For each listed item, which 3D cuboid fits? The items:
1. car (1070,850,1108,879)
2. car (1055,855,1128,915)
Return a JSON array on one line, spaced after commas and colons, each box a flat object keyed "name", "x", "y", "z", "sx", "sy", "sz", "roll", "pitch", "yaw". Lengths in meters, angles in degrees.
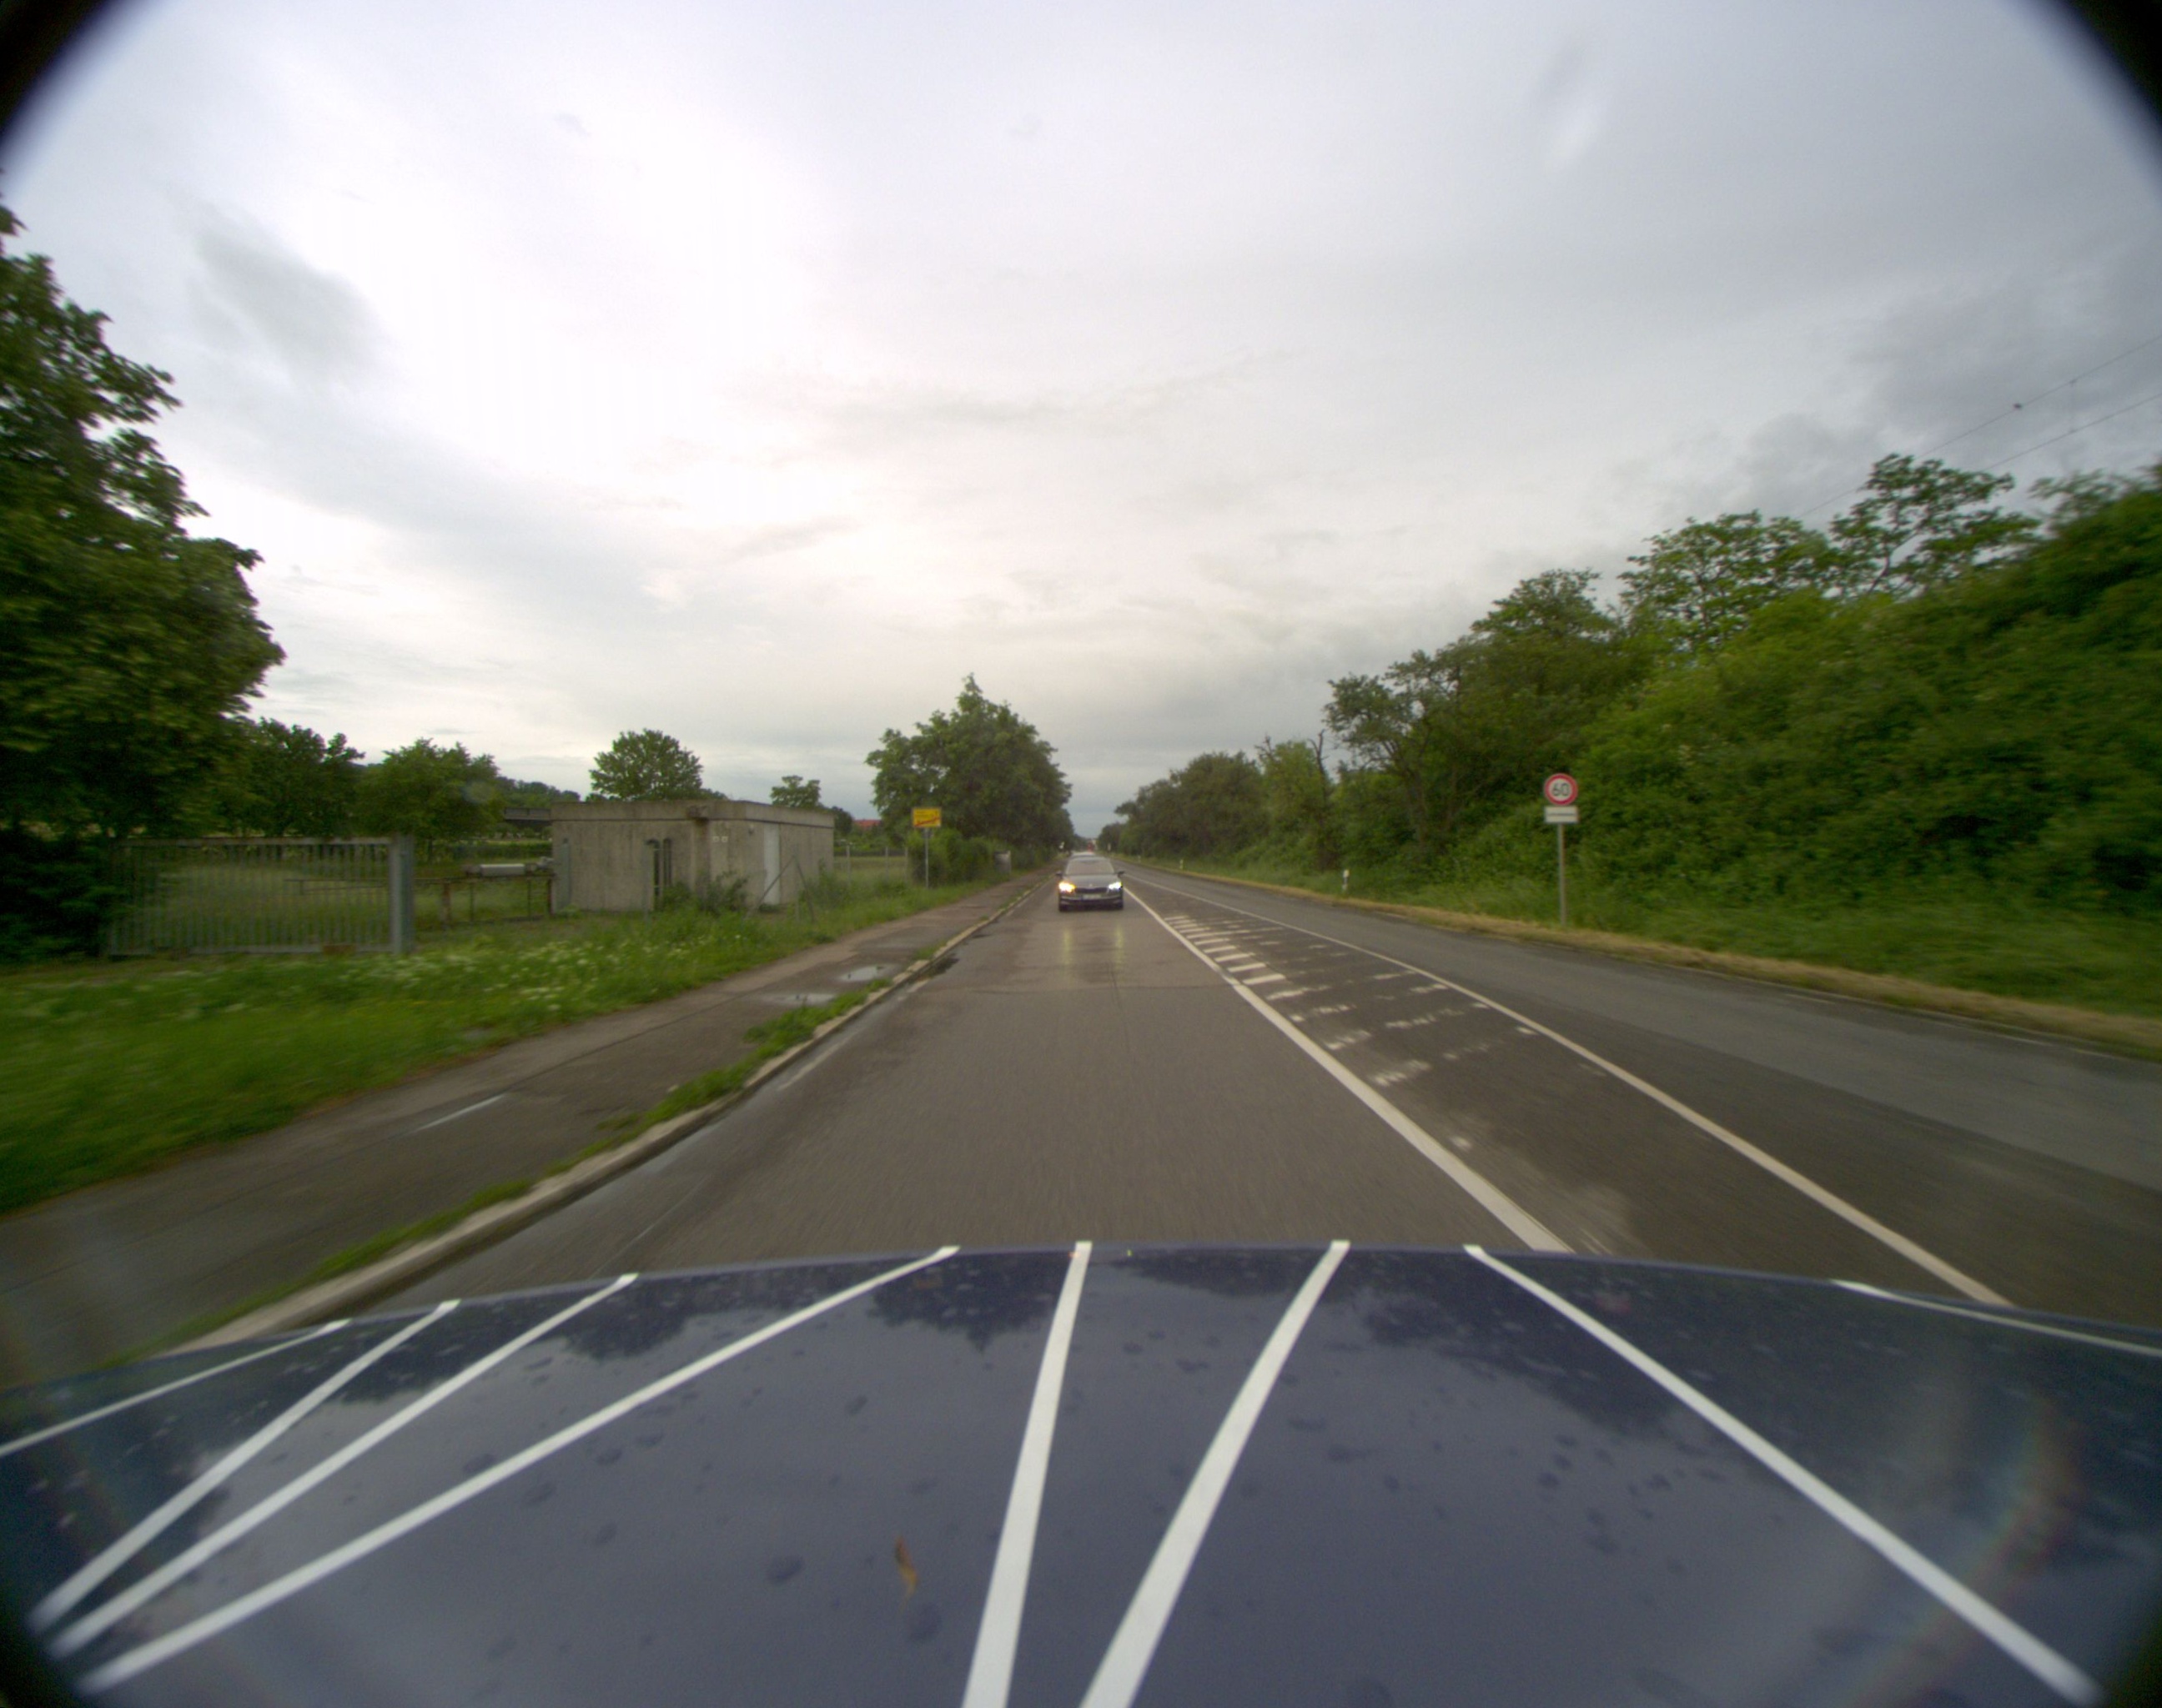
[{"name": "car", "x": 0.506, "y": 0.548, "z": 42.254, "sx": 1.998, "sy": 1.537, "sz": 4.000, "roll": -1, "pitch": 0, "yaw": 2}, {"name": "car", "x": 0.301, "y": 0.776, "z": 20.871, "sx": 1.797, "sy": 1.443, "sz": 4.259, "roll": -1, "pitch": 0, "yaw": 1}]
